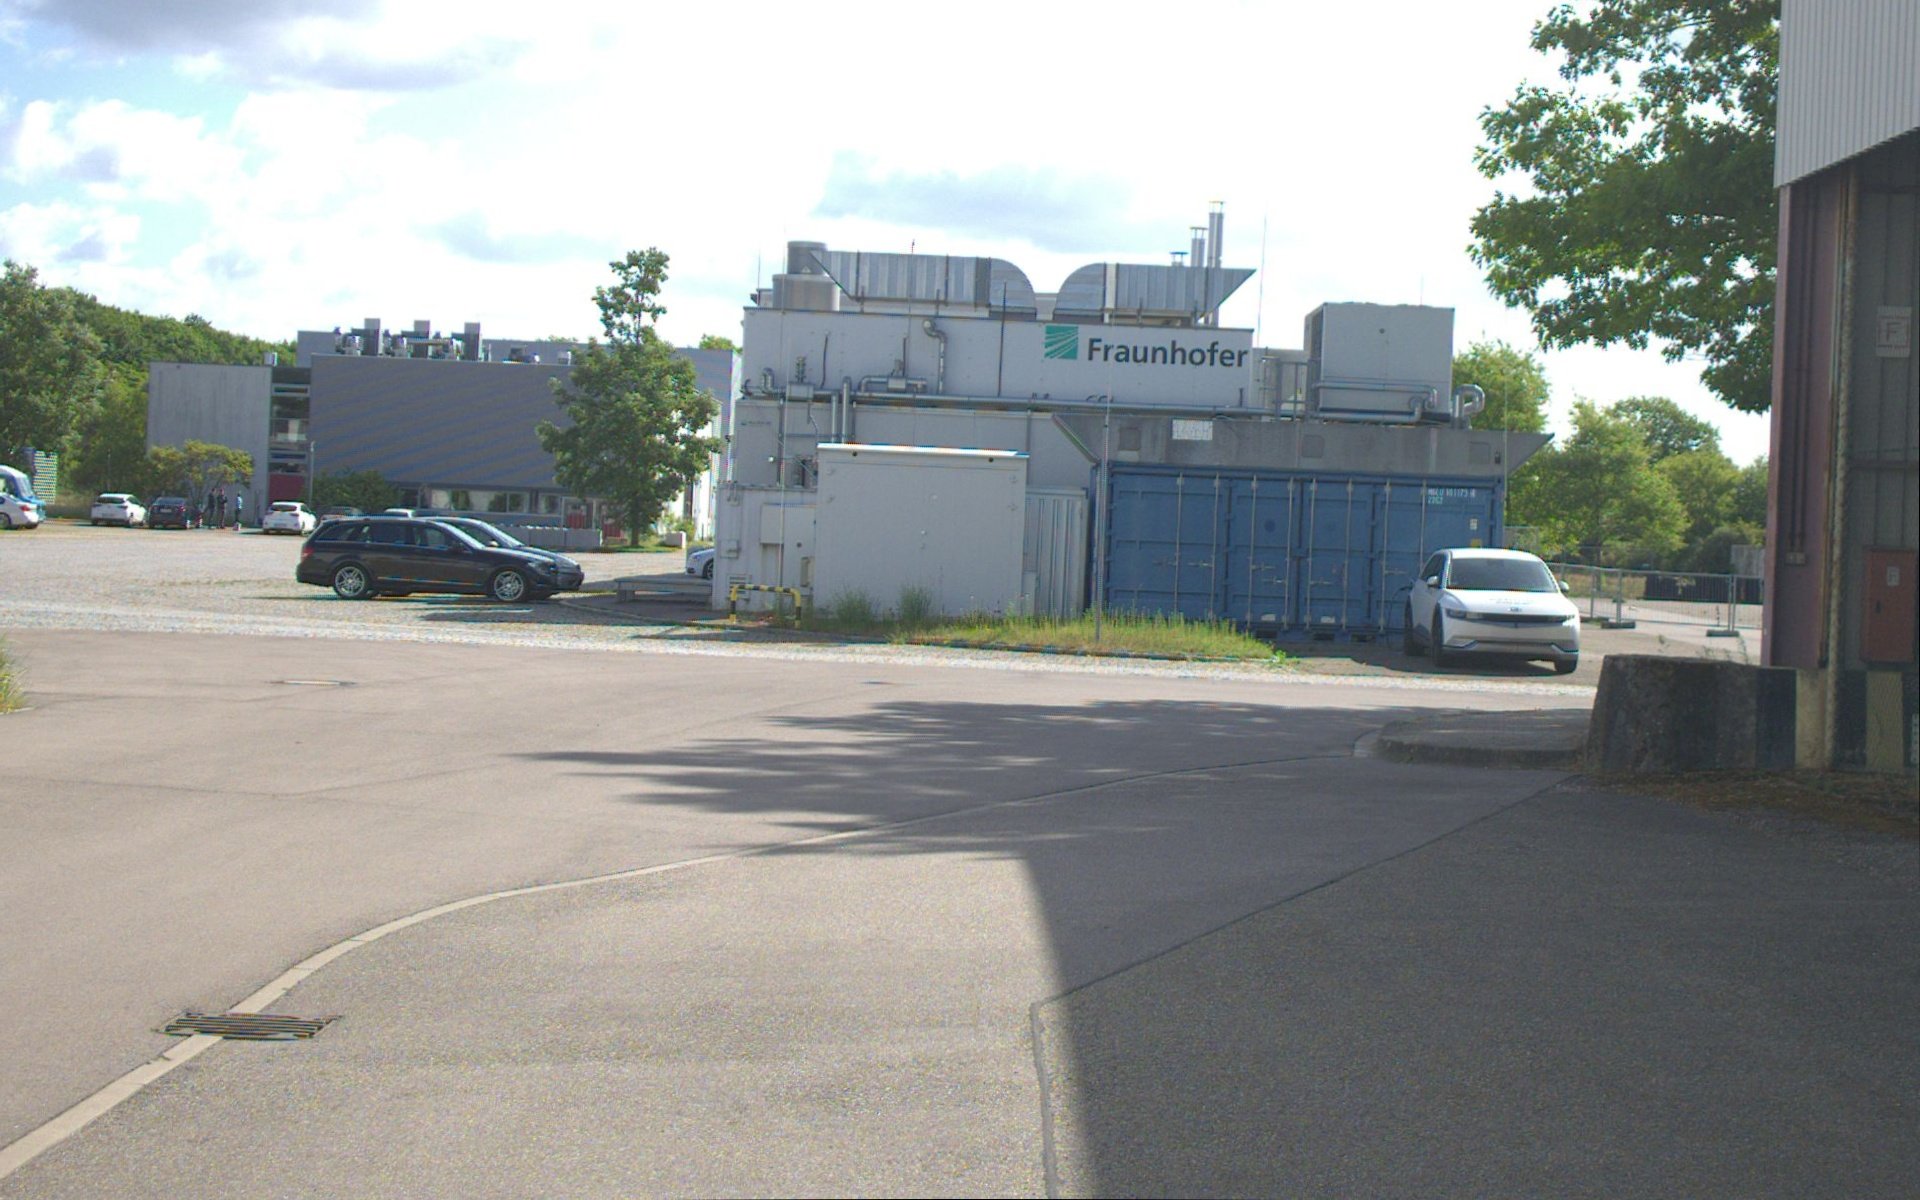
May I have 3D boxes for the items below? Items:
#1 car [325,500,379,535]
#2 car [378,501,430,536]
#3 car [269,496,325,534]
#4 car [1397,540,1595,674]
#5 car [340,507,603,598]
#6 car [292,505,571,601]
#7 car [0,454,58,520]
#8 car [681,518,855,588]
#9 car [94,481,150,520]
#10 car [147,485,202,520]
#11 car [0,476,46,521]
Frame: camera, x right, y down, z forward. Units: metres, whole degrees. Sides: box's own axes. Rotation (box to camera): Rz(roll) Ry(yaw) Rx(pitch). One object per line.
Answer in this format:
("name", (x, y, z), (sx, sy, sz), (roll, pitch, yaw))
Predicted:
("car", (-27.809, -3.761, 157.426), (1.877, 1.532, 4.036), (1, 1, -2))
("car", (-25.480, -3.726, 157.630), (1.877, 1.532, 4.036), (1, 1, -2))
("car", (-30.374, -3.880, 157.597), (1.877, 1.684, 4.036), (1, 1, -2))
("car", (7.388, 0.054, 47.773), (1.981, 1.588, 4.341), (3, 2, 0))
("car", (-9.020, -0.868, 63.753), (4.529, 1.438, 1.904), (2, -1, 1))
("car", (-9.265, -0.815, 60.497), (4.529, 1.438, 1.987), (2, -1, 1))
("car", (-38.132, -4.506, 134.000), (5.259, 2.433, 2.049), (3, 1, 5))
("car", (-4.897, -1.198, 88.208), (4.279, 1.564, 1.987), (2, -1, 1))
("car", (-38.387, -4.545, 157.524), (1.846, 1.663, 4.134), (1, 1, -5))
("car", (-35.935, -4.438, 157.388), (1.877, 1.532, 4.036), (1, 1, -5))
("car", (-37.179, -3.961, 131.059), (4.110, 1.625, 1.807), (3, 1, 5))
